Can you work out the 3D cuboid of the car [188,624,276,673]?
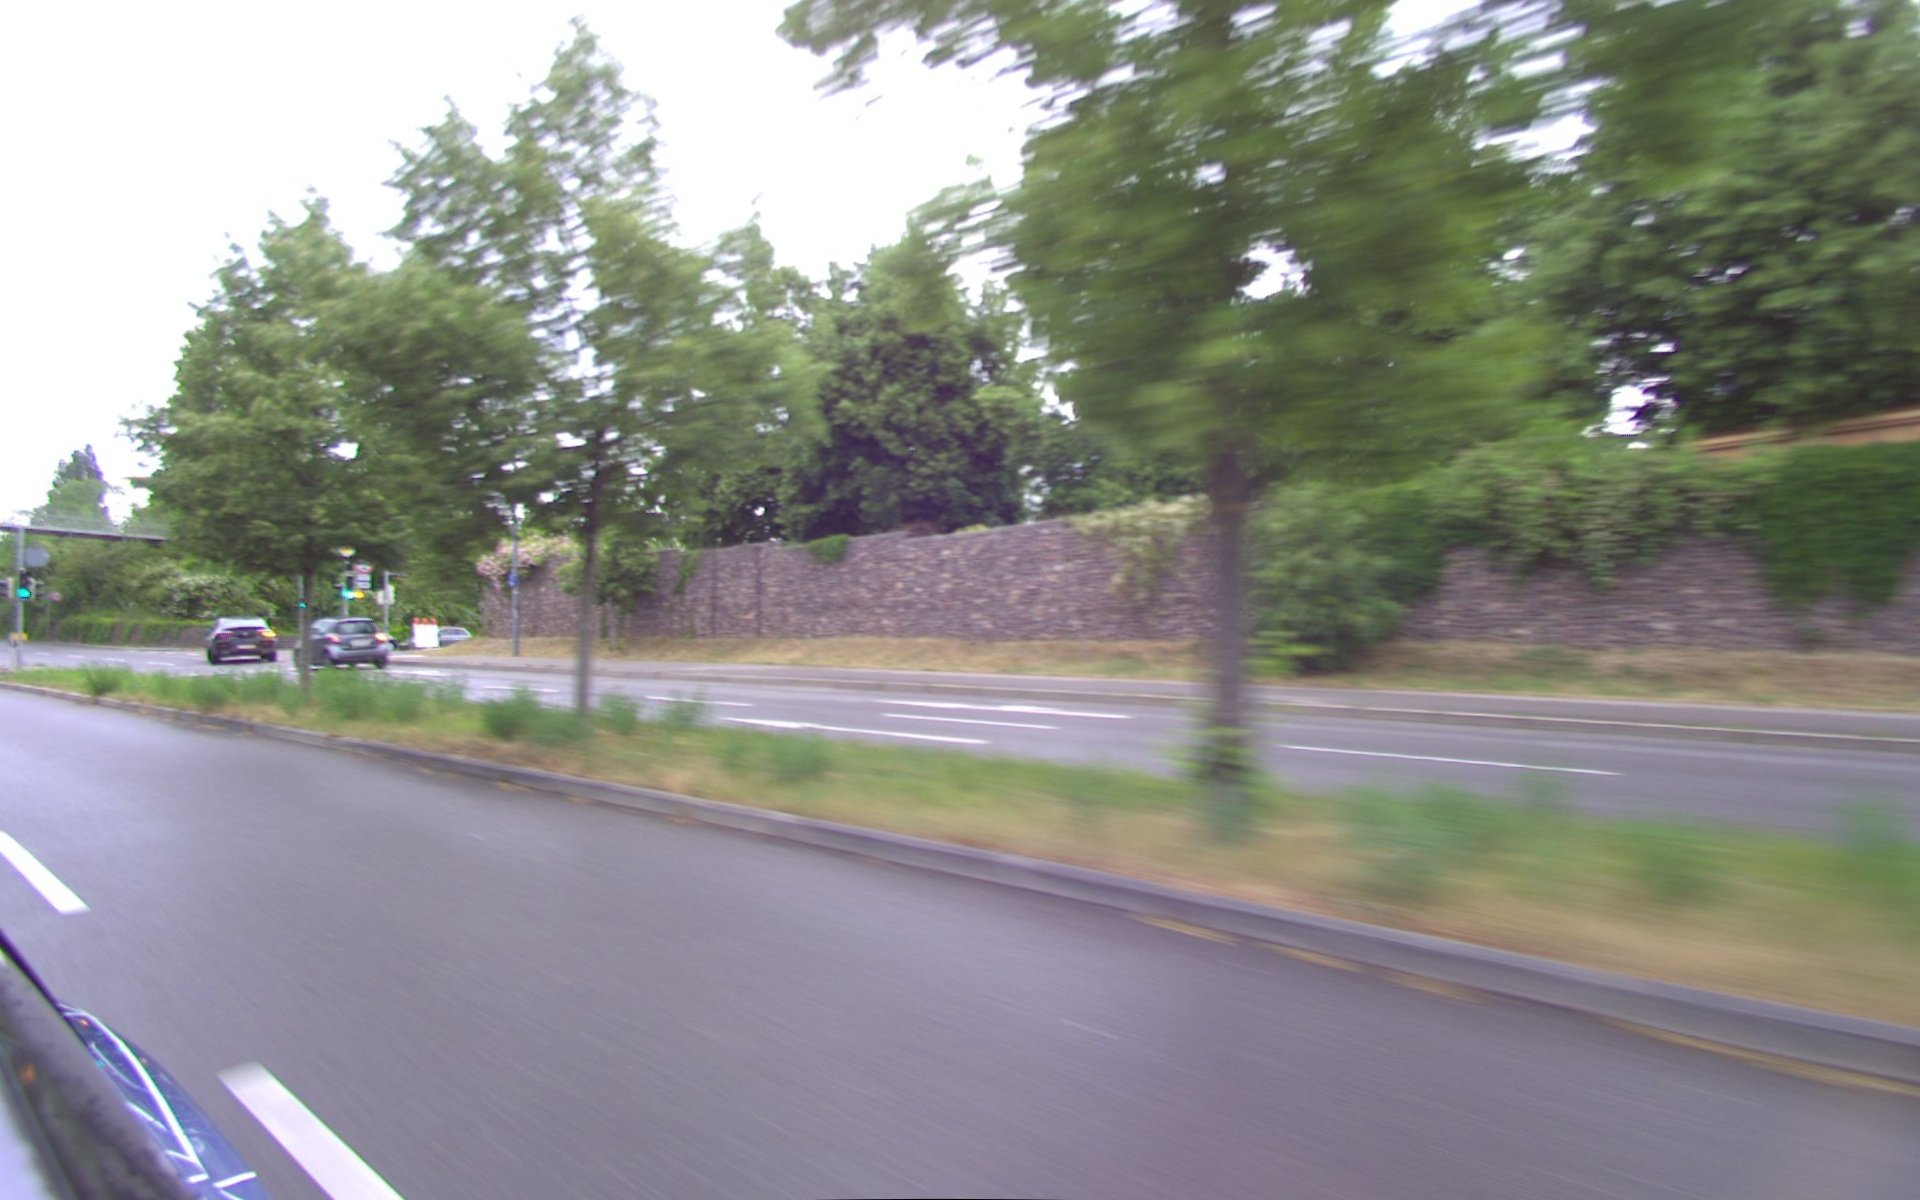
[{"bbox_3d":[-26.216,1.679,36.375,1.859,1.607,4.769,0,-1,-45],"label":"car"}]

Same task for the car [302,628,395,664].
[{"bbox_3d":[-27.865,2.068,46.238,1.583,1.501,3.993,-1,-1,5],"label":"car"}]

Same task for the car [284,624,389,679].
[{"bbox_3d":[-18.596,1.514,30.177,2.909,1.551,1.672,-3,-2,35],"label":"car"}]

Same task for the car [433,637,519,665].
[{"bbox_3d":[-26.602,2.803,55.697,1.692,1.484,3.943,-4,-5,43],"label":"car"}]
